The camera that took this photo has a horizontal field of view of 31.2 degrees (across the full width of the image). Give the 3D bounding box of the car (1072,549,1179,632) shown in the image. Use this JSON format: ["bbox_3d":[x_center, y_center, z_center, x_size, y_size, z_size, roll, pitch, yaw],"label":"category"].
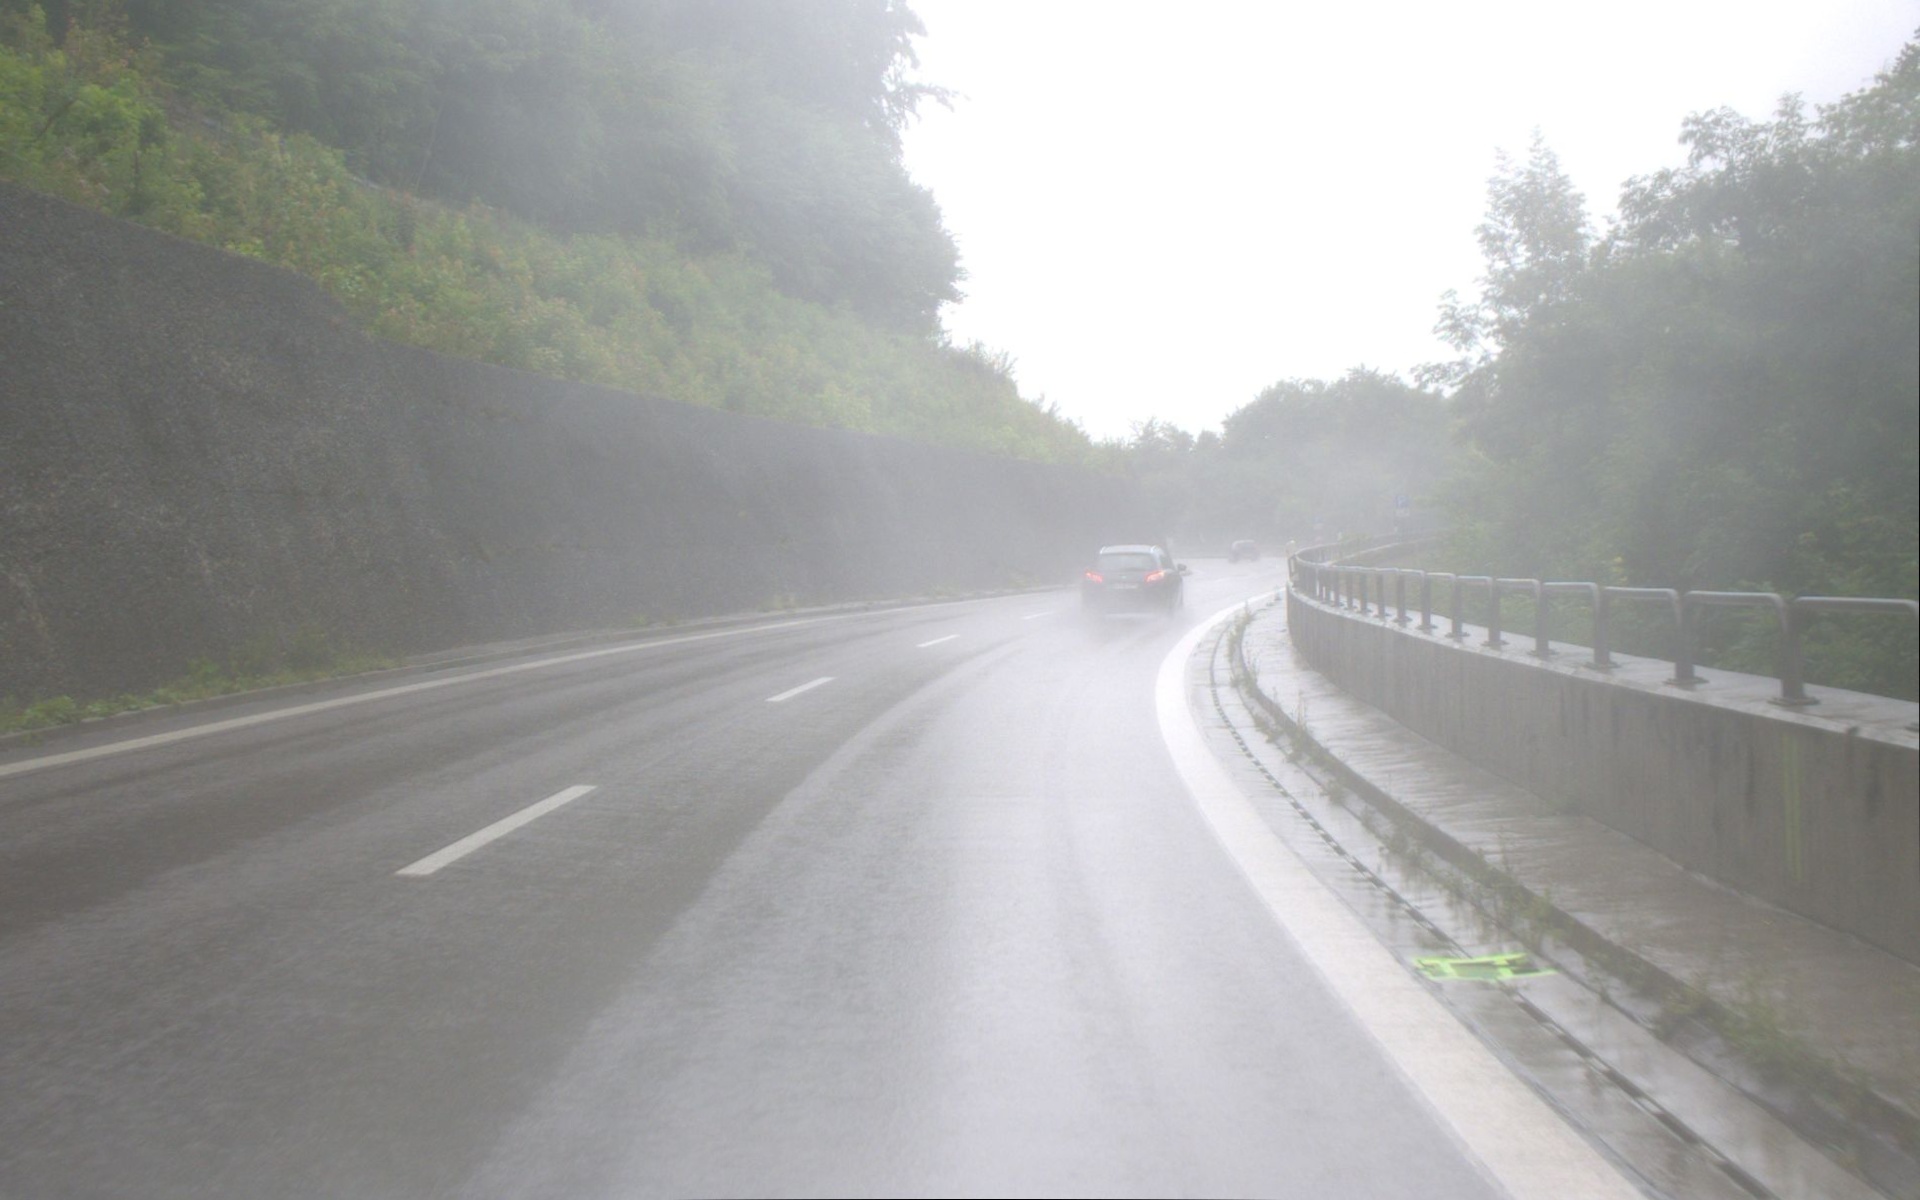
[{"bbox_3d":[3.277,-0.209,67.510,1.904,1.494,3.999,-2,1,5],"label":"car"}]
